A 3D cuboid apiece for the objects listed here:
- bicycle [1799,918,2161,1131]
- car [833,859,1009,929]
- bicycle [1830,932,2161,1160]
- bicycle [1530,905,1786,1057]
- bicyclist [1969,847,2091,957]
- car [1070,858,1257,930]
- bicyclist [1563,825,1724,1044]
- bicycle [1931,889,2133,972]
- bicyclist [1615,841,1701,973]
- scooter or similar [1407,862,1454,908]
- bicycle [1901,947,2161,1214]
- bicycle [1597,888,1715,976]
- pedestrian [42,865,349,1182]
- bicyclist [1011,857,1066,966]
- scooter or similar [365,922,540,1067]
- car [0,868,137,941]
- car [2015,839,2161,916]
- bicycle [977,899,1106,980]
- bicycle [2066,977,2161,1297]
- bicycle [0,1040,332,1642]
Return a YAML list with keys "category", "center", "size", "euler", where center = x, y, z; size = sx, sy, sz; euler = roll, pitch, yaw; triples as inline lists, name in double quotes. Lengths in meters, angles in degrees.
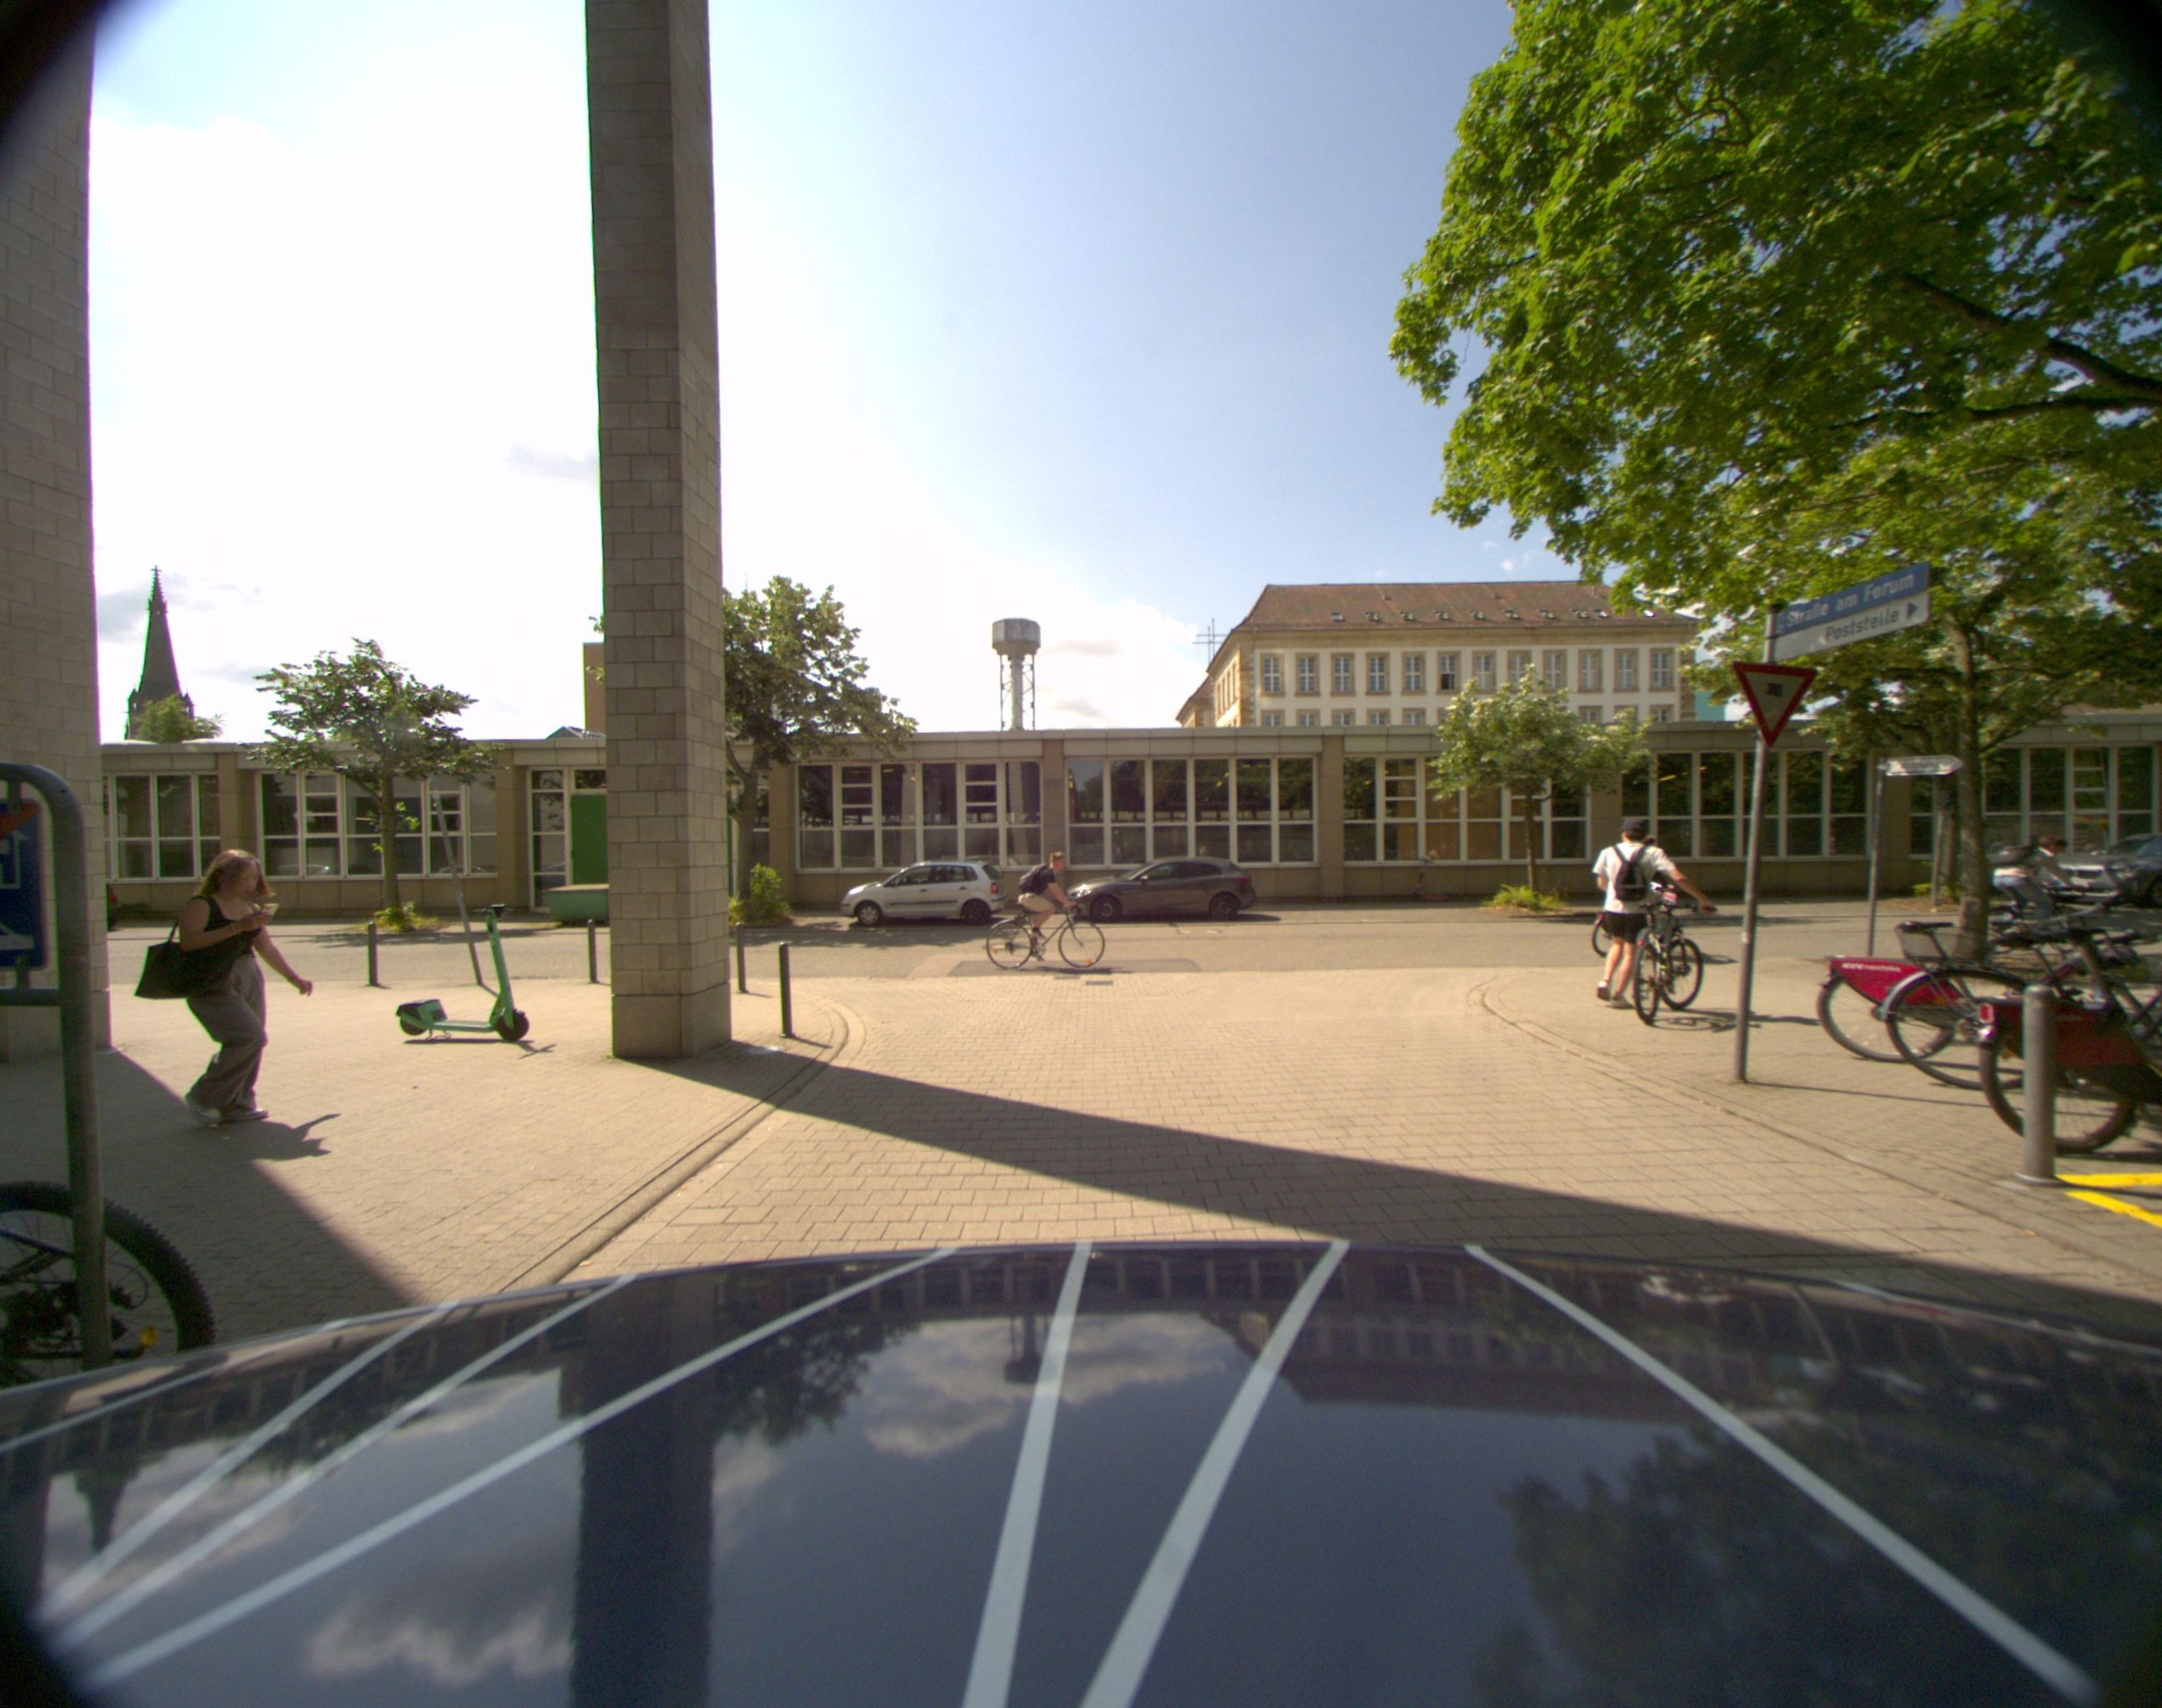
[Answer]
- category: "bicycle"
  center: [5.824, 1.018, 4.884]
  size: [1.625, 1.152, 0.641]
  euler: [-2, -1, 29]
- category: "car"
  center: [-3.713, 0.924, 18.052]
  size: [3.776, 1.468, 1.653]
  euler: [-1, 3, 1]
- category: "bicycle"
  center: [5.511, 1.033, 4.267]
  size: [1.741, 1.101, 0.591]
  euler: [-2, -1, 30]
- category: "bicycle"
  center: [5.083, 1.061, 6.731]
  size: [1.887, 1.165, 0.804]
  euler: [0, -1, -14]
- category: "bicyclist"
  center: [13.996, 0.684, 11.230]
  size: [0.873, 1.565, 0.641]
  euler: [0, 2, 15]
- category: "car"
  center: [1.876, 0.908, 18.063]
  size: [4.208, 1.468, 1.653]
  euler: [-1, 2, 1]
- category: "bicyclist"
  center: [5.222, 0.697, 7.095]
  size: [0.868, 1.881, 0.804]
  euler: [-3, 1, -15]
- category: "bicycle"
  center: [14.005, 1.101, 11.253]
  size: [1.816, 1.102, 0.641]
  euler: [0, 2, 15]
- category: "bicyclist"
  center: [8.697, 0.761, 11.455]
  size: [0.971, 1.877, 0.673]
  euler: [-2, 2, -28]
- category: "scooter or similar"
  center: [9.571, 0.845, 20.822]
  size: [1.157, 1.219, 0.289]
  euler: [-1, 1, 4]
- category: "bicycle"
  center: [4.976, 1.025, 3.589]
  size: [1.628, 1.101, 0.497]
  euler: [-1, -1, 1]
- category: "bicycle"
  center: [8.670, 1.133, 11.446]
  size: [1.889, 1.134, 0.673]
  euler: [-2, 1, -28]
- category: "pedestrian"
  center: [-5.017, 0.900, 4.372]
  size: [0.882, 1.645, 0.702]
  euler: [-1, 1, -4]
- category: "bicyclist"
  center: [-0.610, 0.830, 11.169]
  size: [0.727, 1.526, 0.605]
  euler: [0, 3, 3]
- category: "scooter or similar"
  center: [-5.356, 1.179, 6.502]
  size: [1.157, 1.144, 0.444]
  euler: [-1, 1, 6]
- category: "car"
  center: [-25.988, 1.197, 18.276]
  size: [4.131, 1.569, 1.851]
  euler: [-1, 2, 0]
- category: "car"
  center: [25.219, 0.500, 17.756]
  size: [4.536, 1.608, 1.837]
  euler: [-1, 2, -1]
- category: "bicycle"
  center: [-0.556, 1.244, 11.178]
  size: [1.829, 1.102, 0.605]
  euler: [0, 3, 3]
- category: "bicycle"
  center: [4.660, 1.015, 2.698]
  size: [1.628, 1.101, 0.497]
  euler: [-1, -1, 1]
- category: "bicycle"
  center: [-3.149, 1.119, 1.889]
  size: [1.886, 1.157, 0.605]
  euler: [1, 0, -4]
